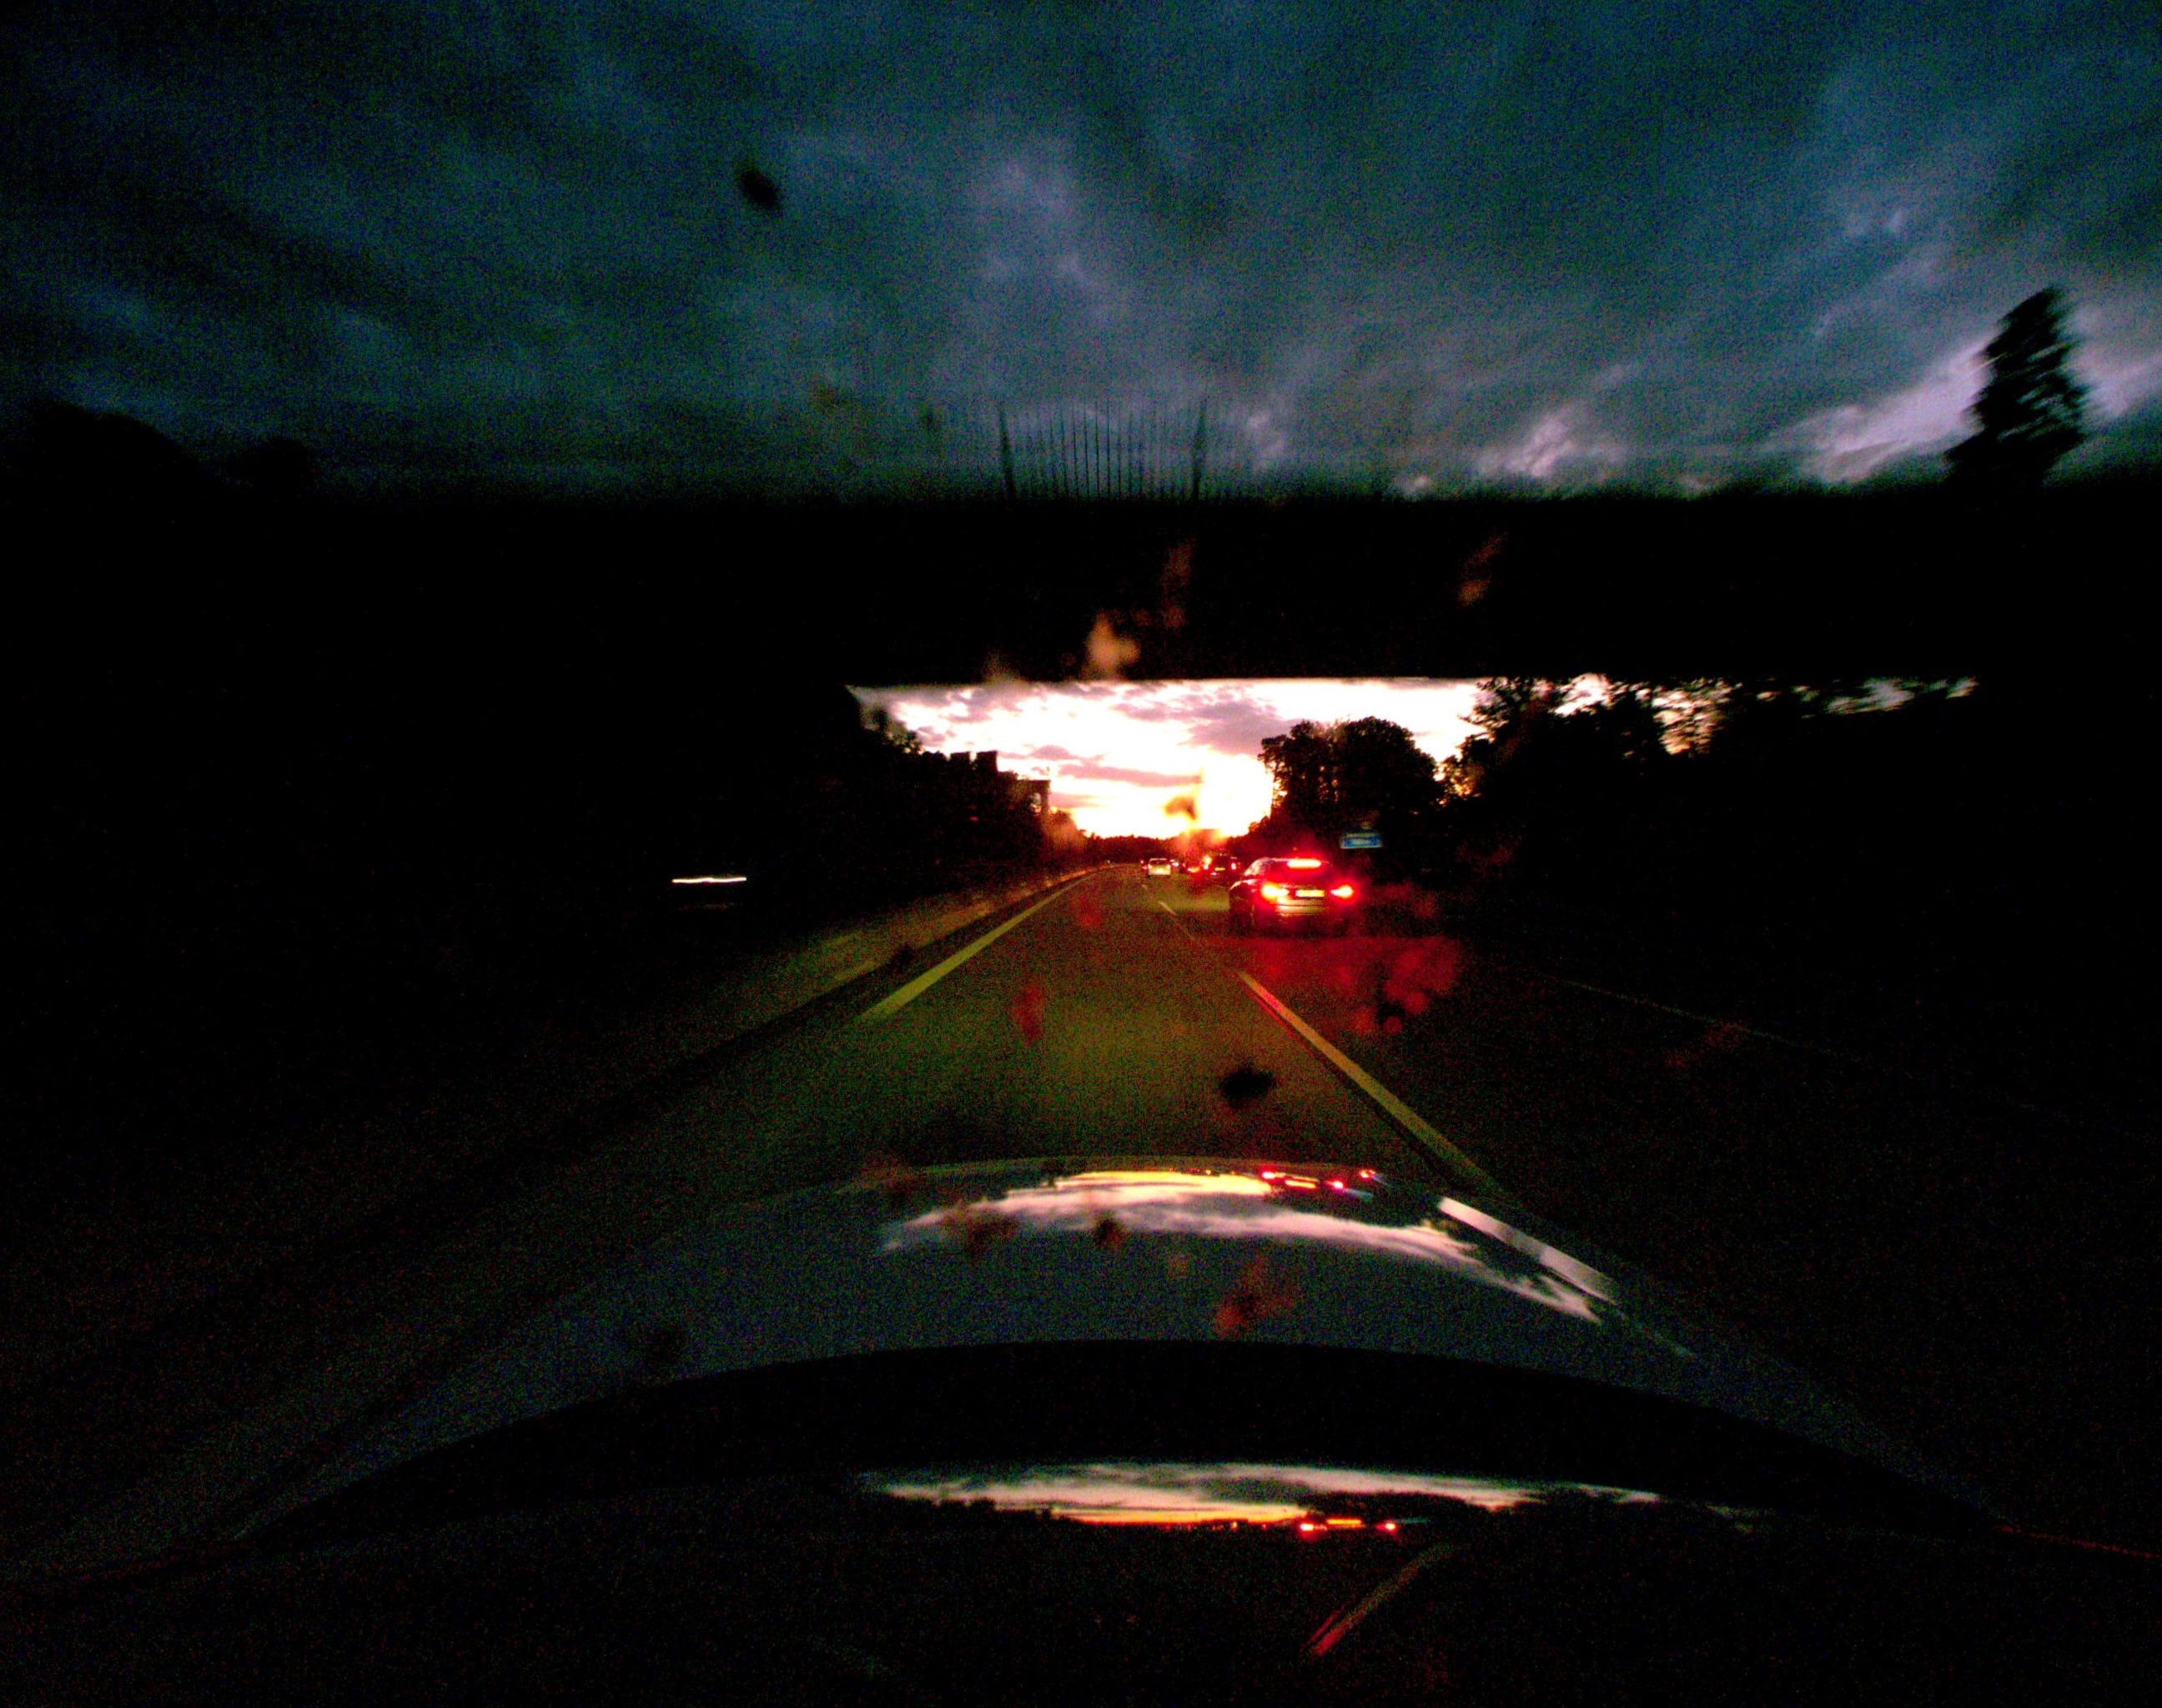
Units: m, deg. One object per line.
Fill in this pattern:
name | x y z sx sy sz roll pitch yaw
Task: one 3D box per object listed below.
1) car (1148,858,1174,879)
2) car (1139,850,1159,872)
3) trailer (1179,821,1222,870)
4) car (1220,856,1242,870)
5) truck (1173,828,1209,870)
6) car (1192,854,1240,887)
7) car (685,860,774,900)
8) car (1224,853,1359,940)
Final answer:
car | 5.893 1.053 60.333 1.850 1.442 3.726 -1 1 5
car | 7.989 0.851 95.482 2.155 2.419 5.571 -1 -1 5
trailer | 10.689 -0.581 73.844 2.895 4.101 10.365 0 -1 3
car | 16.350 0.996 88.964 1.851 1.442 4.115 -1 -1 3
truck | 11.263 -0.358 84.396 2.873 4.101 10.839 0 -1 3
car | 7.331 0.868 44.680 1.896 1.643 5.054 -1 0 2
car | -15.104 1.087 35.279 1.804 1.520 4.431 -1 1 1
car | 4.372 0.783 17.753 1.901 1.537 5.237 -1 1 4
